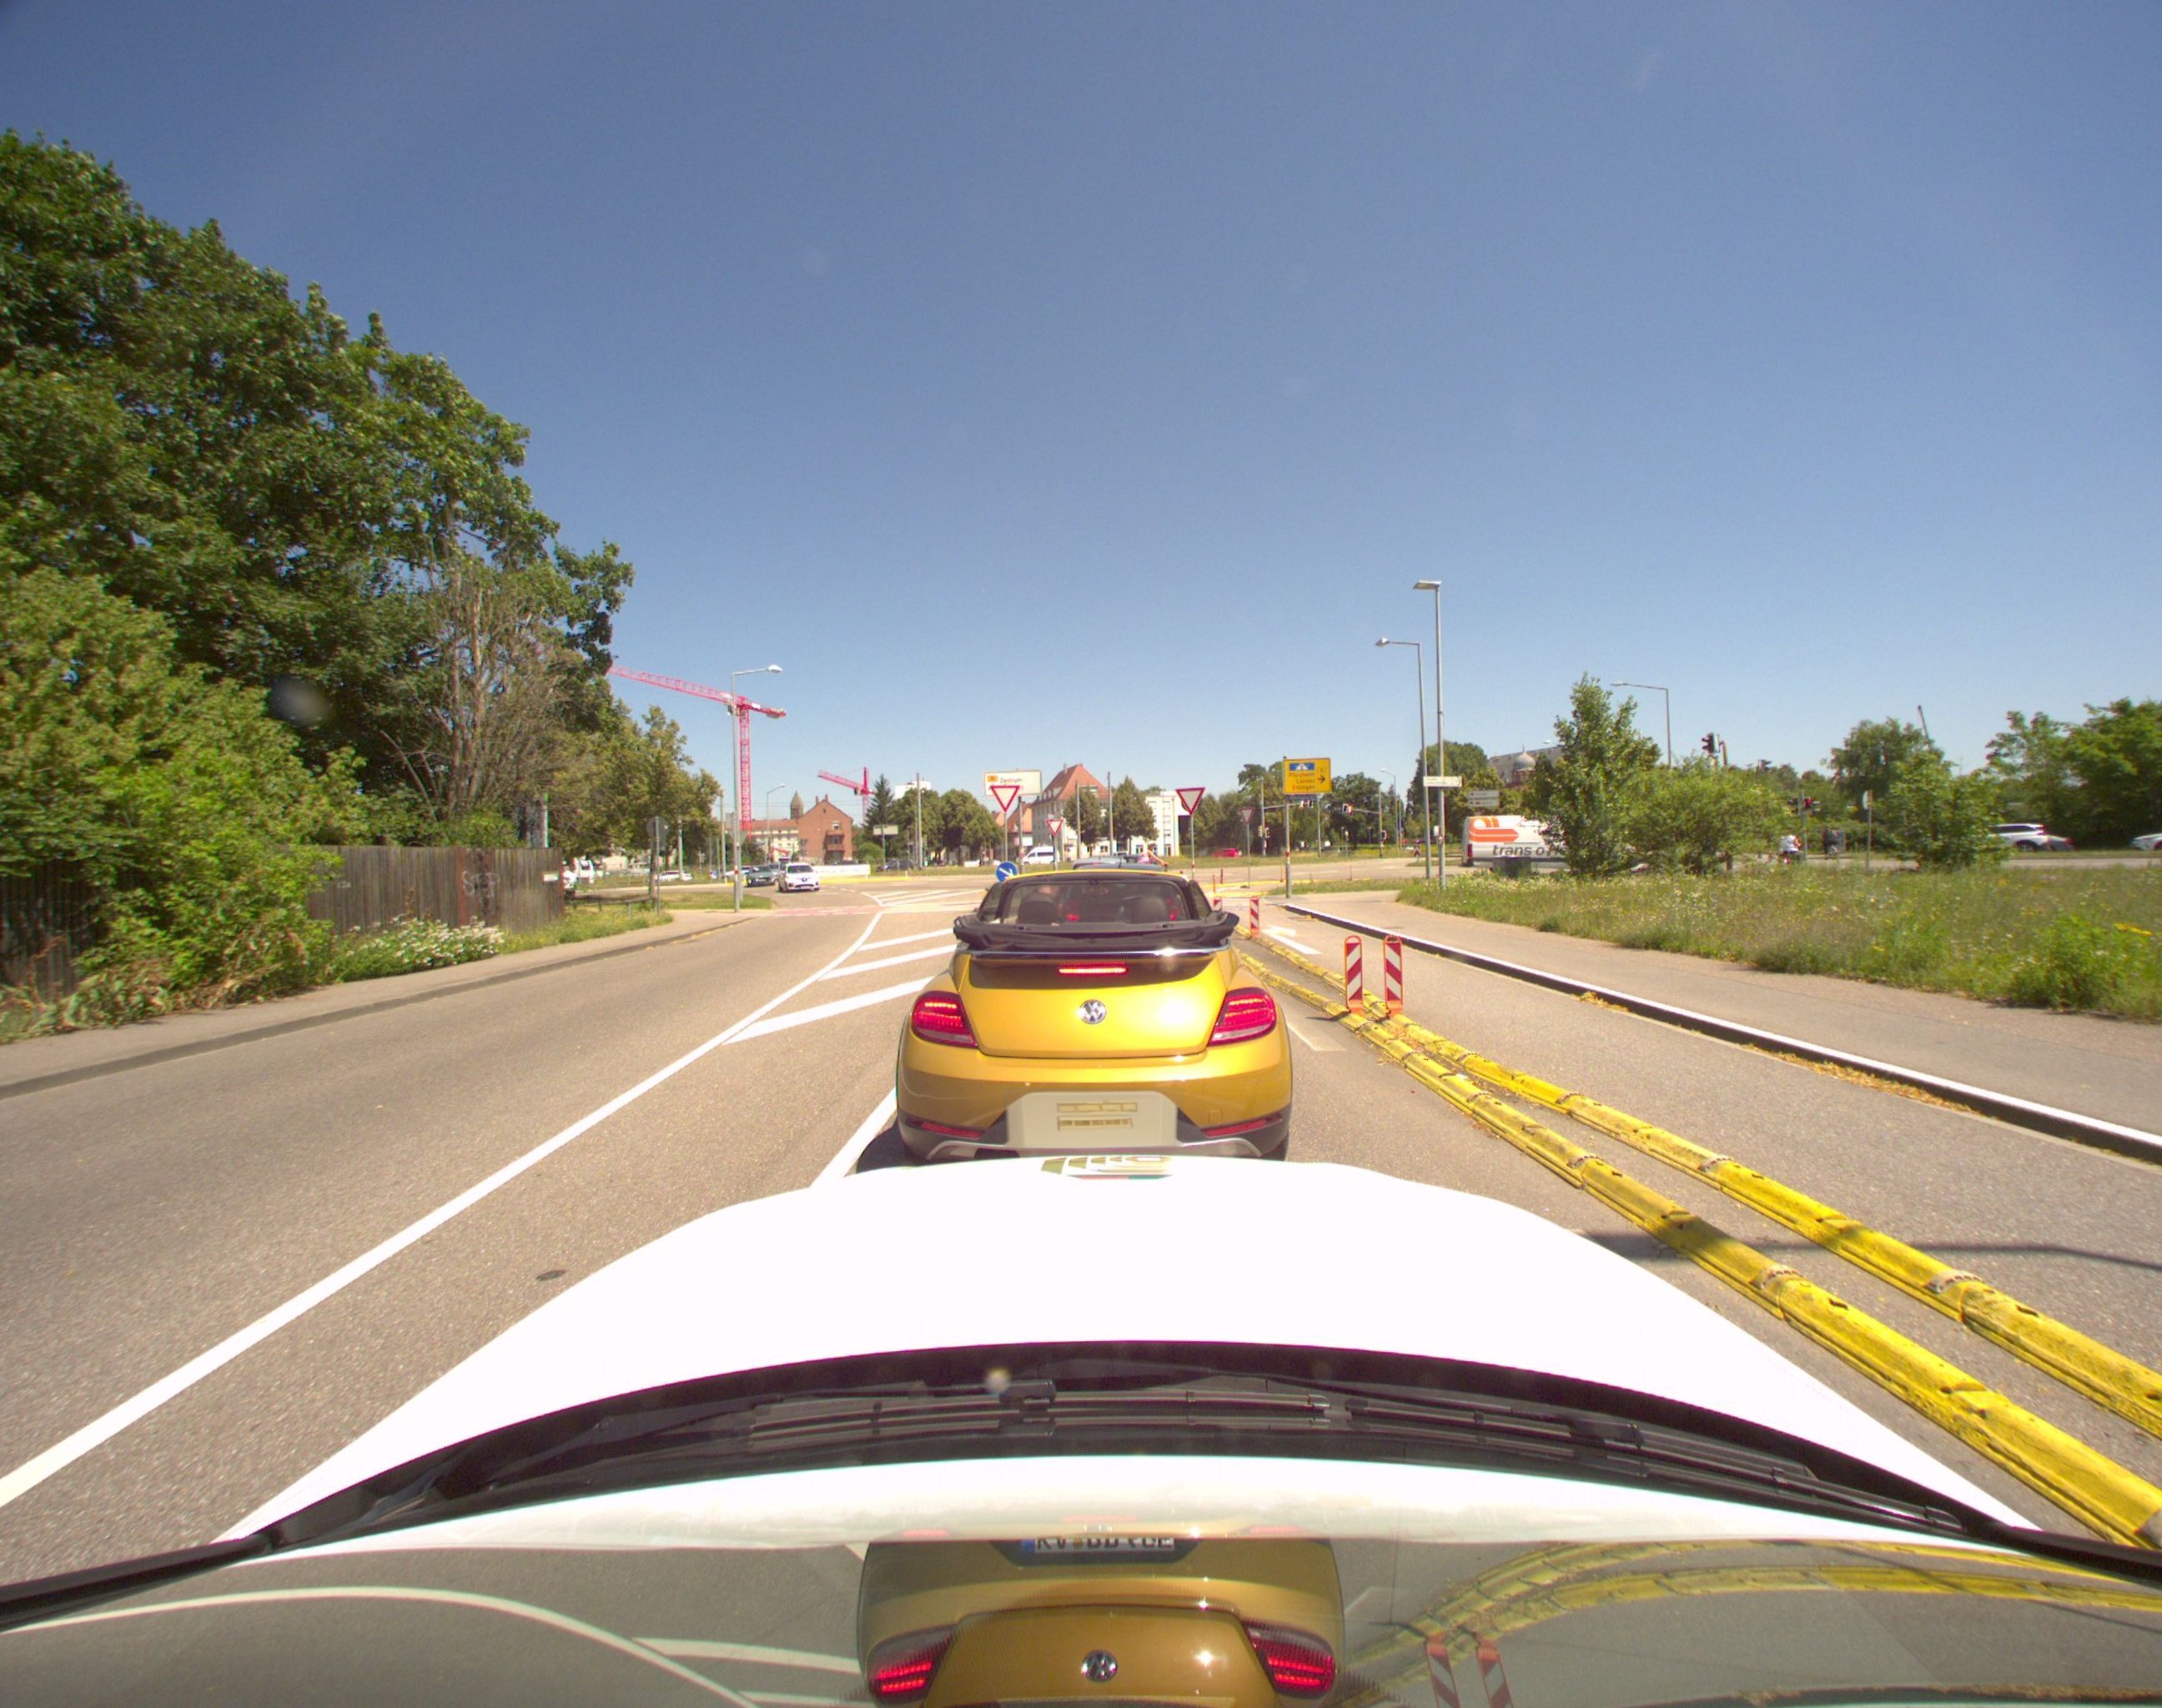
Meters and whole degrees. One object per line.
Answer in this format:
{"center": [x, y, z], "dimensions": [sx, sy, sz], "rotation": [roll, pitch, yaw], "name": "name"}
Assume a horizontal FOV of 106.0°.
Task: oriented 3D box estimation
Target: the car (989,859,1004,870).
{"center": [-13.973, 1.717, 134.545], "dimensions": [1.889, 1.772, 3.977], "rotation": [0, -1, -17], "name": "car"}

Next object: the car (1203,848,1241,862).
{"center": [17.622, 0.095, 101.642], "dimensions": [4.290, 1.654, 1.913], "rotation": [-1, -1, 35], "name": "car"}

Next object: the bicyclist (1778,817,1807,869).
{"center": [25.768, -0.386, 29.487], "dimensions": [0.573, 1.841, 0.603], "rotation": [0, -1, -29], "name": "bicyclist"}

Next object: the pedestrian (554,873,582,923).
{"center": [-18.648, 1.590, 29.606], "dimensions": [0.957, 1.786, 0.642], "rotation": [-1, -1, 42], "name": "pedestrian"}

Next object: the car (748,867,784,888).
{"center": [-21.958, 1.610, 56.975], "dimensions": [1.748, 1.371, 4.311], "rotation": [0, -1, -13], "name": "car"}

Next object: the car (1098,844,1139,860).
{"center": [5.144, -0.246, 111.349], "dimensions": [5.269, 2.070, 2.003], "rotation": [-1, -1, 17], "name": "car"}

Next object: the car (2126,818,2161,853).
{"center": [51.274, -0.868, 36.991], "dimensions": [4.389, 1.592, 1.860], "rotation": [-1, -1, 43], "name": "car"}

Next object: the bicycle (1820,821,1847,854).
{"center": [38.011, -0.822, 41.133], "dimensions": [0.972, 1.597, 2.900], "rotation": [-1, -1, 43], "name": "bicycle"}

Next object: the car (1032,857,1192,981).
{"center": [0.435, 0.778, 11.756], "dimensions": [1.844, 1.366, 4.260], "rotation": [-2, 0, 2], "name": "car"}

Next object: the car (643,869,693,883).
{"center": [-43.284, 2.326, 85.356], "dimensions": [4.311, 1.371, 1.749], "rotation": [0, -1, -6], "name": "car"}

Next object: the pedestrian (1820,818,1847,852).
{"center": [37.912, -0.950, 41.024], "dimensions": [0.959, 1.660, 0.892], "rotation": [-1, -1, 44], "name": "pedestrian"}

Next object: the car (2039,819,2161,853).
{"center": [51.397, -0.868, 40.673], "dimensions": [4.389, 1.592, 1.860], "rotation": [-1, -1, 43], "name": "car"}

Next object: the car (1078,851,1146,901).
{"center": [1.043, 0.675, 27.597], "dimensions": [2.057, 1.481, 4.545], "rotation": [-2, 0, 2], "name": "car"}

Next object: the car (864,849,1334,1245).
{"center": [0.130, 0.745, 5.200], "dimensions": [1.758, 1.481, 4.259], "rotation": [0, -1, 2], "name": "car"}

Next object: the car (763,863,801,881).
{"center": [-24.925, 1.501, 68.034], "dimensions": [1.723, 1.402, 4.268], "rotation": [0, -1, -2], "name": "car"}

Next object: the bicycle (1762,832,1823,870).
{"center": [25.815, -0.113, 29.531], "dimensions": [2.902, 1.353, 0.635], "rotation": [0, -1, -28], "name": "bicycle"}

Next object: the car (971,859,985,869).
{"center": [-19.185, 1.895, 151.535], "dimensions": [1.889, 1.772, 3.977], "rotation": [0, -1, -17], "name": "car"}

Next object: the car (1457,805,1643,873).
{"center": [20.447, -0.585, 35.894], "dimensions": [6.807, 2.828, 2.009], "rotation": [-1, -1, 17], "name": "car"}

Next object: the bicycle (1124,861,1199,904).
{"center": [2.377, 0.843, 24.128], "dimensions": [2.073, 1.221, 0.637], "rotation": [-2, 0, 24], "name": "bicycle"}

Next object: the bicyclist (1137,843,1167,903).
{"center": [2.113, 0.562, 24.272], "dimensions": [0.664, 1.752, 0.596], "rotation": [-2, 1, 23], "name": "bicyclist"}

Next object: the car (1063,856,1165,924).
{"center": [0.770, 0.752, 18.679], "dimensions": [2.057, 1.382, 4.260], "rotation": [0, 0, 2], "name": "car"}

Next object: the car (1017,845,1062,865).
{"center": [-5.167, 0.145, 100.328], "dimensions": [5.312, 2.397, 1.987], "rotation": [0, -1, -11], "name": "car"}

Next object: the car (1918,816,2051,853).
{"center": [45.884, -0.928, 41.519], "dimensions": [4.389, 1.736, 1.860], "rotation": [-1, -1, 43], "name": "car"}

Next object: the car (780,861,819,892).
{"center": [-15.410, 1.206, 44.432], "dimensions": [1.783, 1.527, 3.844], "rotation": [-2, 0, -22], "name": "car"}

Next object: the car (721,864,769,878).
{"center": [-34.444, 1.768, 83.586], "dimensions": [4.327, 1.371, 1.742], "rotation": [0, -1, -17], "name": "car"}
